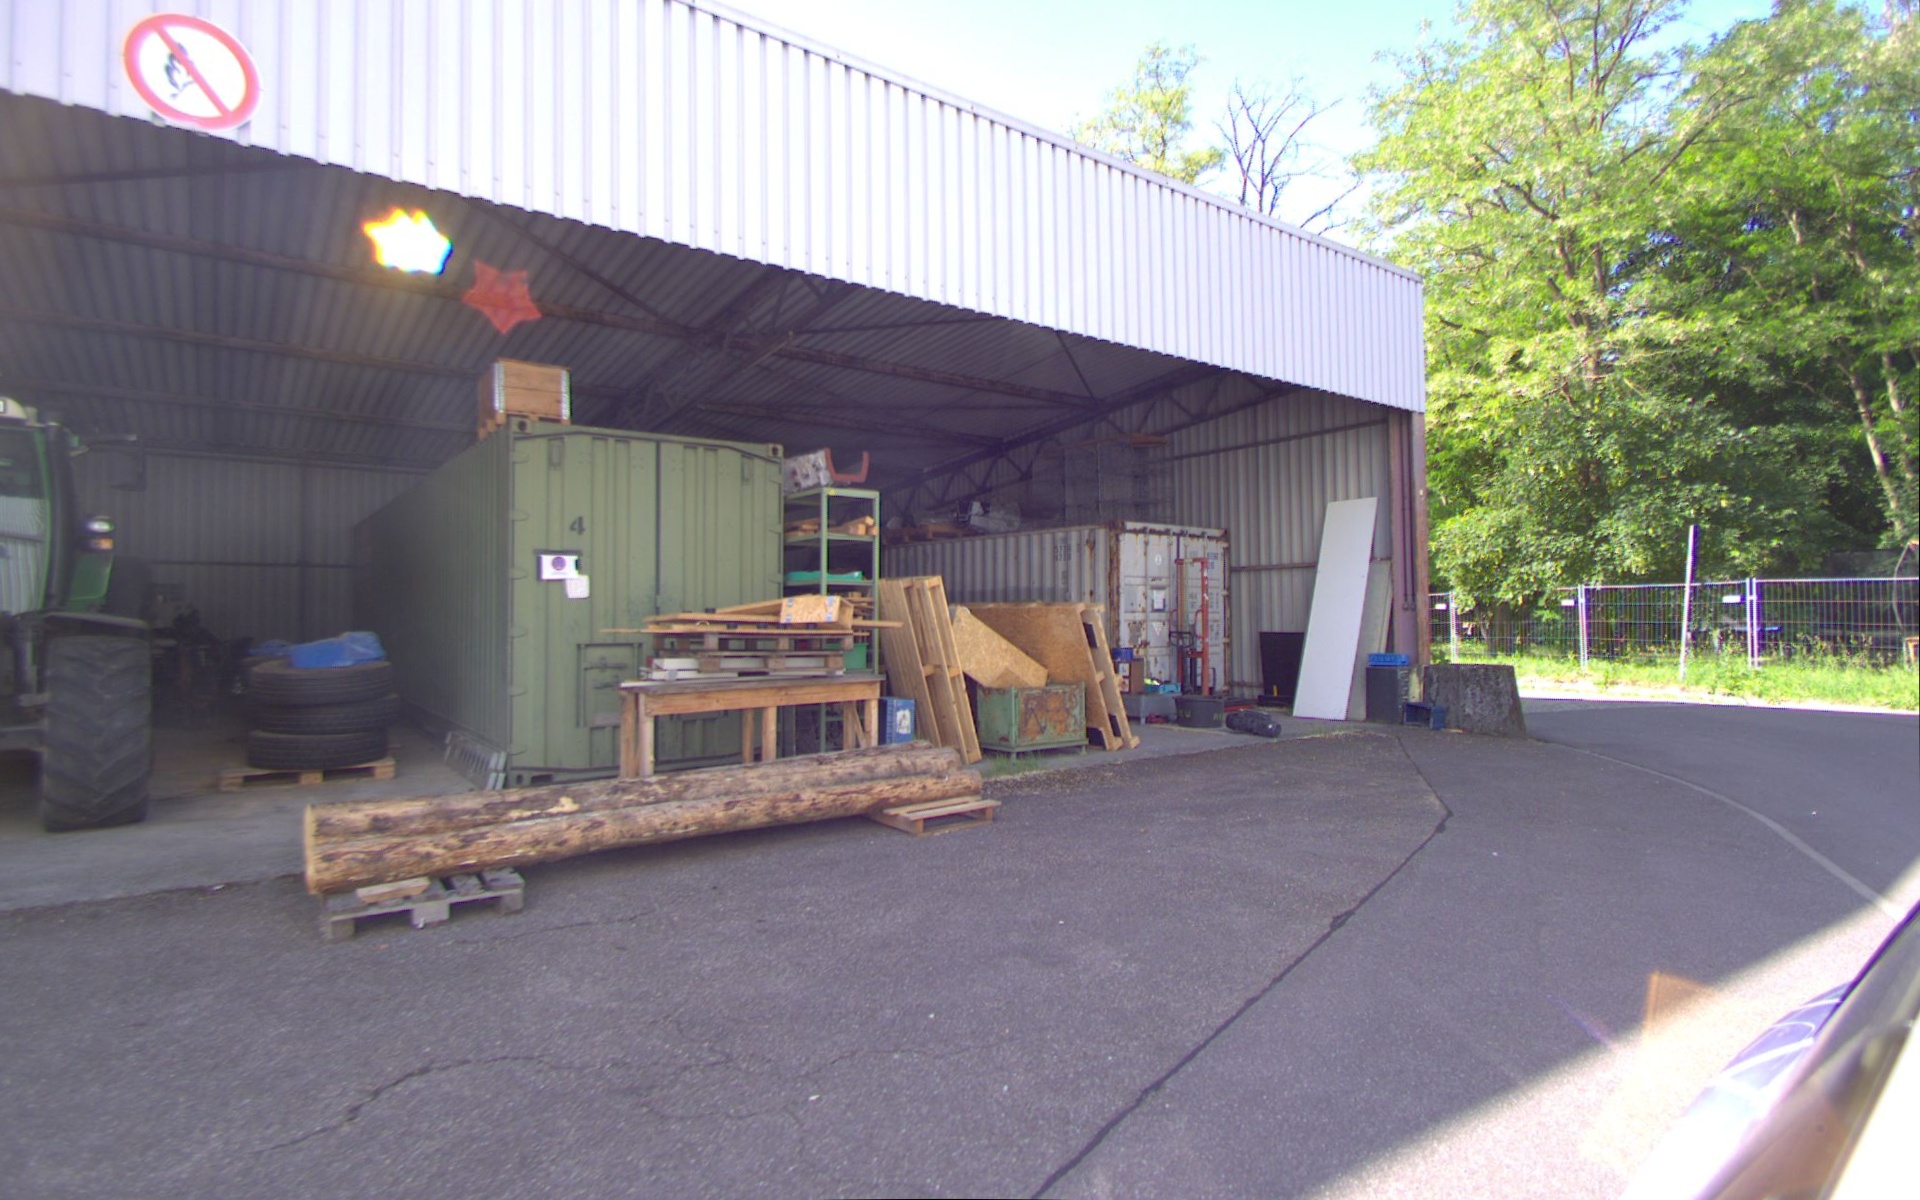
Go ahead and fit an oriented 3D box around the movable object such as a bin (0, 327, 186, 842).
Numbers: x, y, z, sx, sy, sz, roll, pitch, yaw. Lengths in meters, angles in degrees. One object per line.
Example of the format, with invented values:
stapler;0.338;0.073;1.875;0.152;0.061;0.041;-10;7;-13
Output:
movable object such as a bin;-7.848;-0.032;7.983;2.636;2.942;6.370;0;-1;-37

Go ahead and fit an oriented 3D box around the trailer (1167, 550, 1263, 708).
trailer;3.552;0.420;14.070;1.261;2.095;0.580;3;-6;-40
